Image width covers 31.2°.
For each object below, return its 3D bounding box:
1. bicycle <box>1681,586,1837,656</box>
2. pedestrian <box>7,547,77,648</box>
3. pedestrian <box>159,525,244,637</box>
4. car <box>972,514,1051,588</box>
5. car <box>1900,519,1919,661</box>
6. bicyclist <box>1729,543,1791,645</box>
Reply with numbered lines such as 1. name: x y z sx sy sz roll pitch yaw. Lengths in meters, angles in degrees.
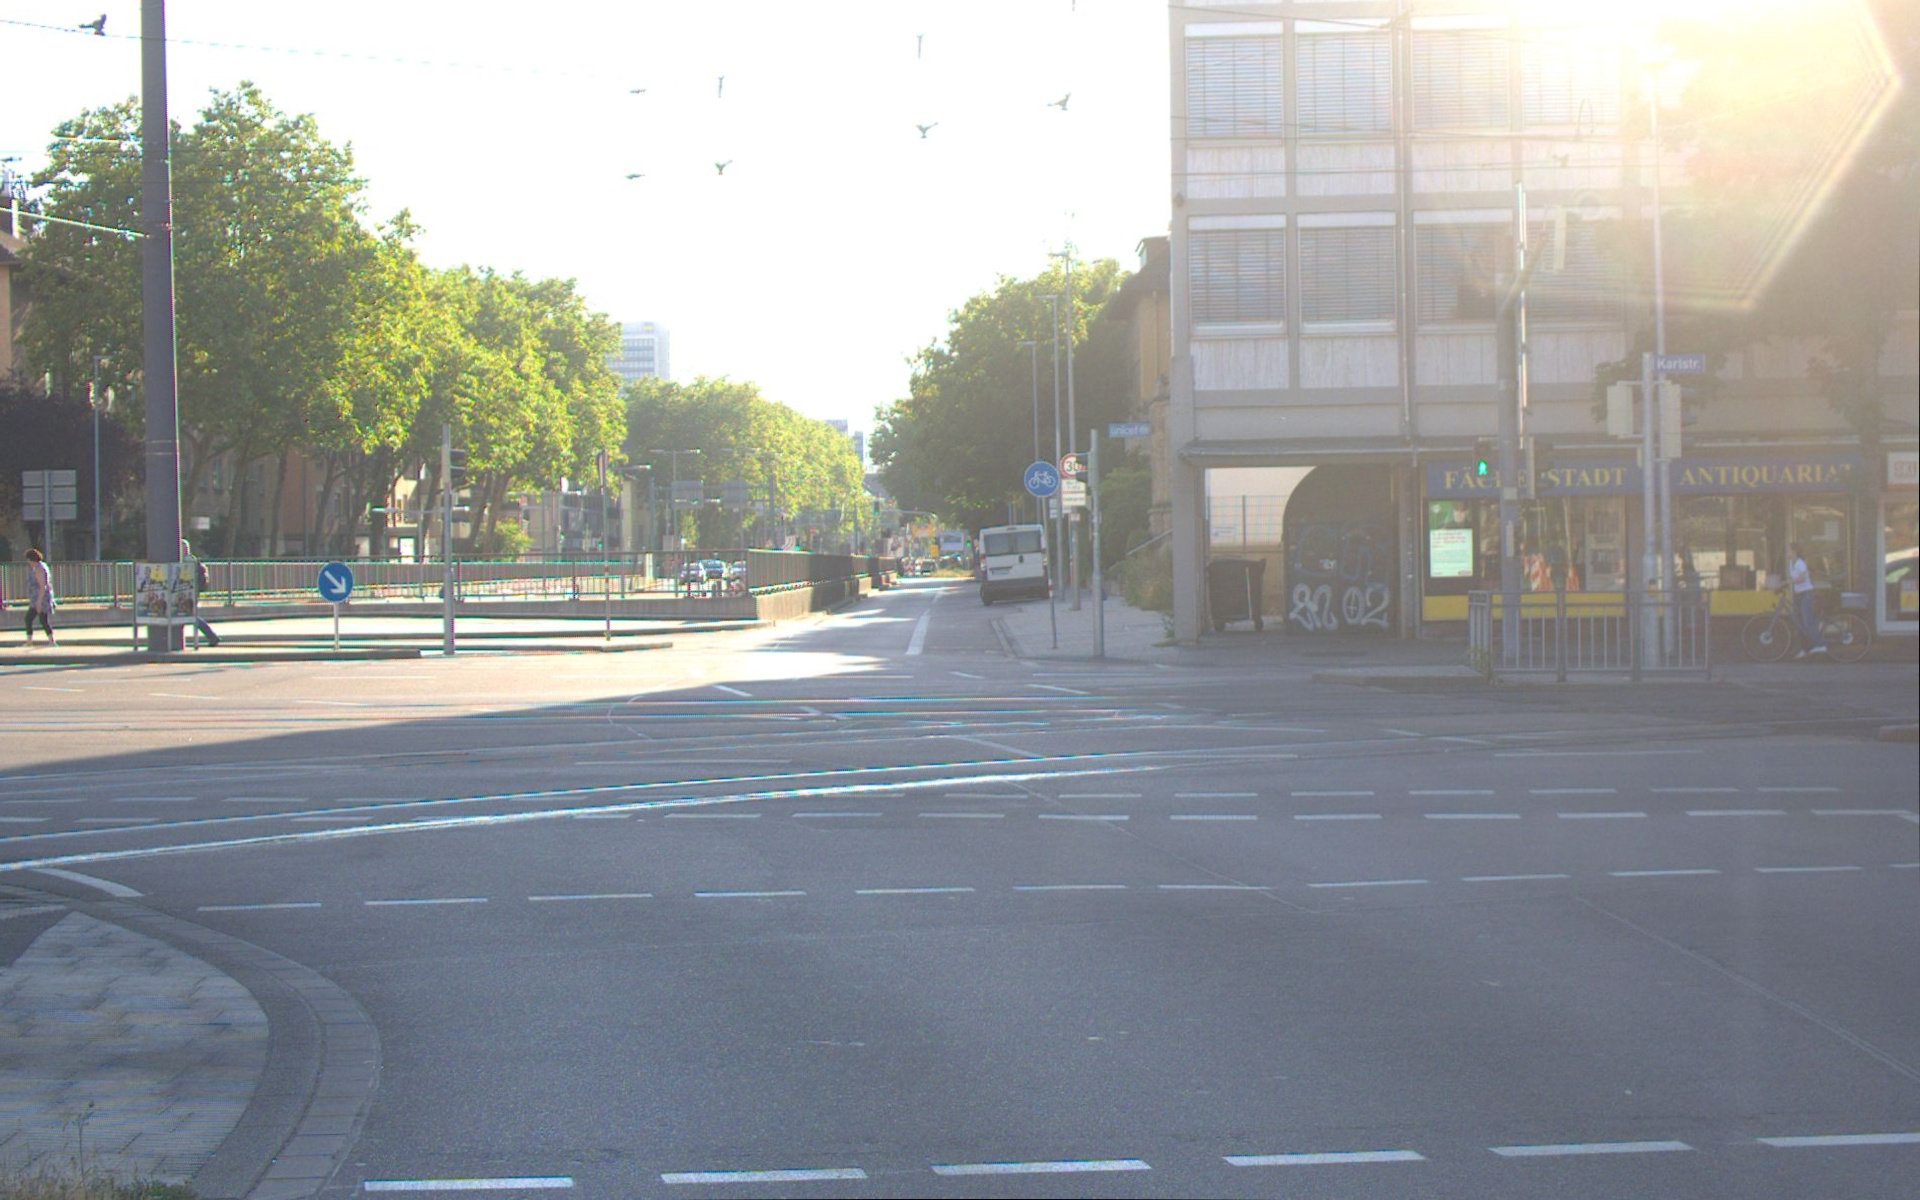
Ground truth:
1. bicycle: 11.202 0.290 48.229 2.024 0.937 0.671 1 0 -1
2. pedestrian: -13.819 -0.034 51.737 0.853 1.460 0.686 1 -5 -29
3. pedestrian: -11.972 -0.302 54.303 1.194 1.725 0.856 1 0 -5
4. car: 1.586 -1.461 103.909 2.286 2.165 4.833 1 1 1
5. car: 12.900 -0.090 39.038 3.987 1.612 1.844 1 0 5
6. bicyclist: 11.216 -0.084 48.218 0.679 1.419 0.671 1 0 -1
